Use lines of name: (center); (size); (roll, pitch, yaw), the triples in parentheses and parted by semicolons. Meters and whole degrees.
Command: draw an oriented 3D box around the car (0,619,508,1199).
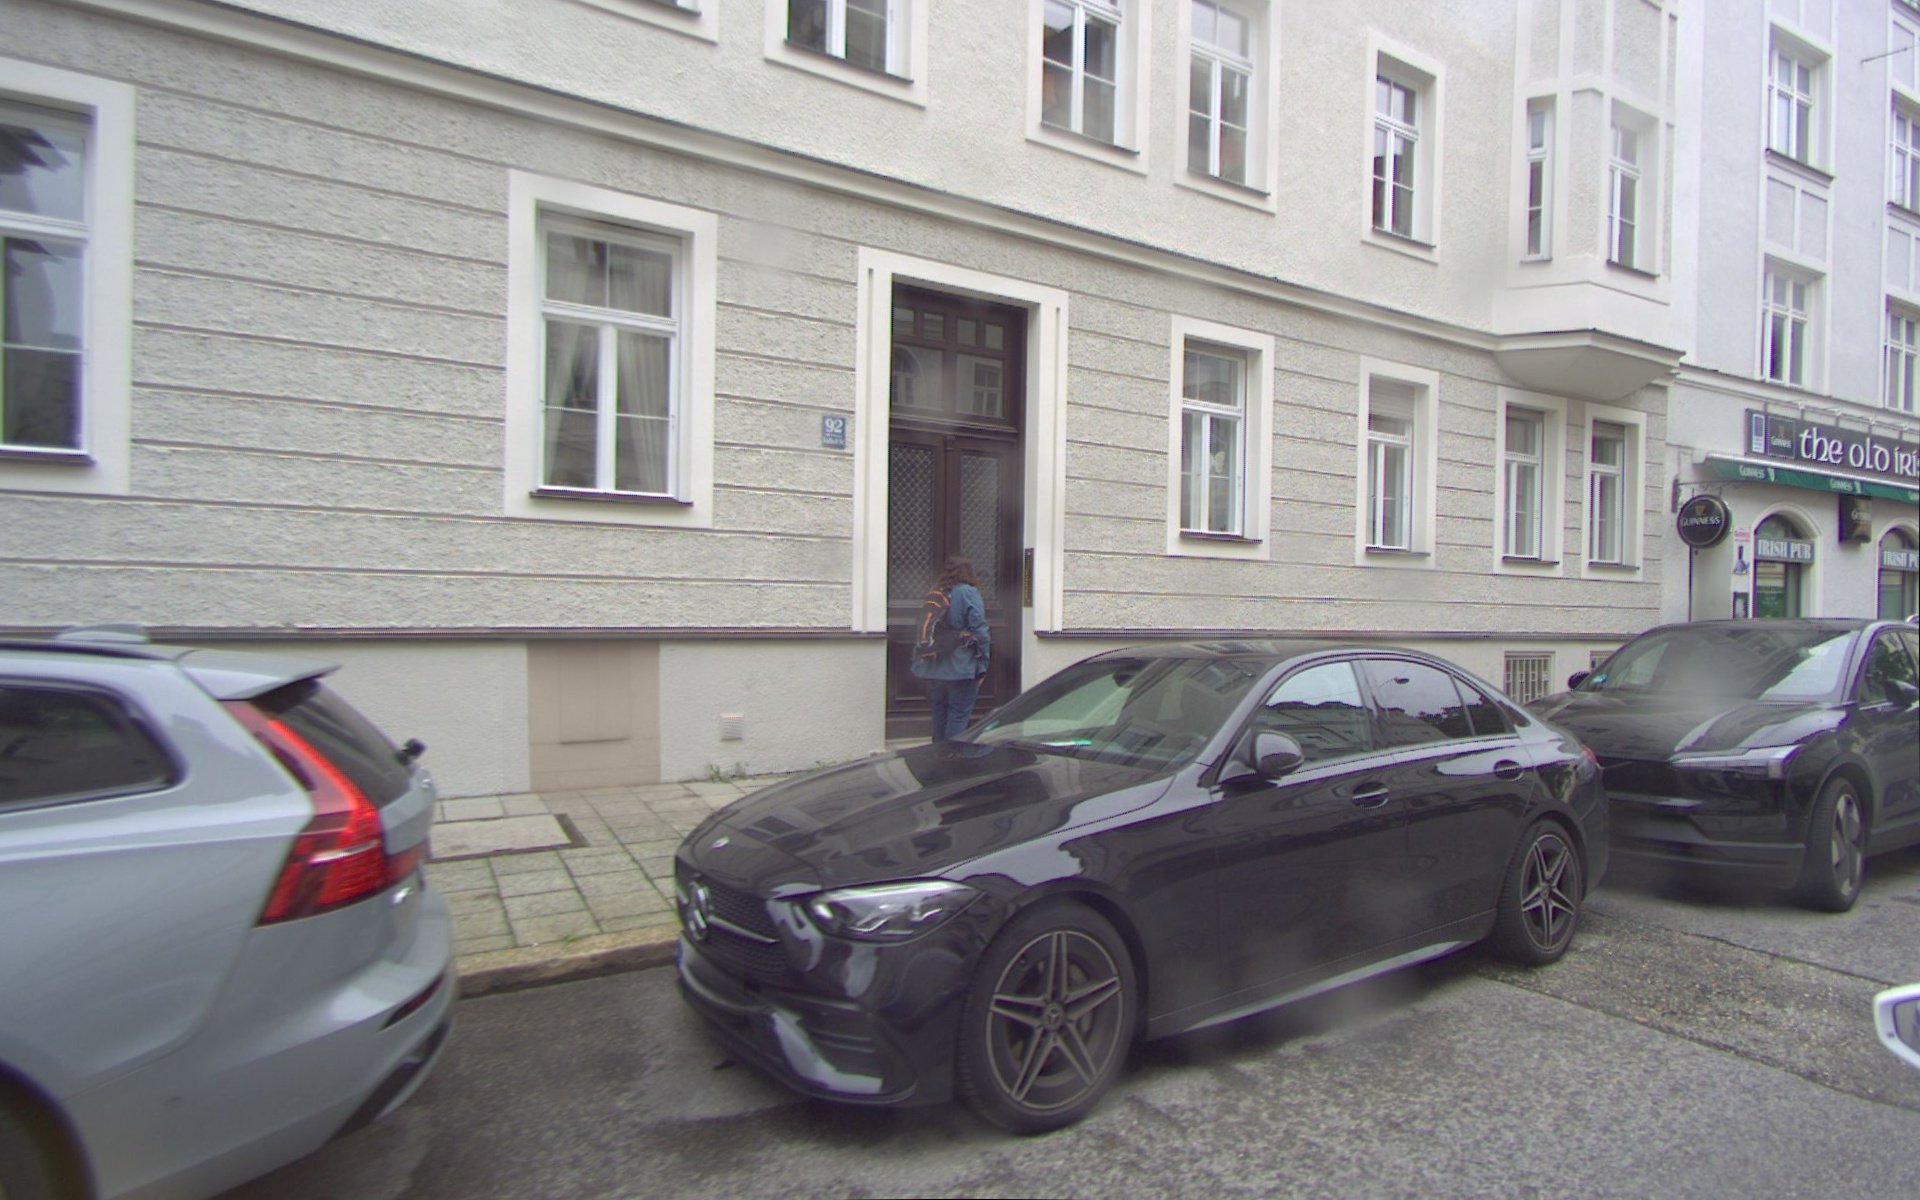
car: (-3.363, 0.766, 1.868); (4.457, 1.438, 1.787); (1, -3, -30)

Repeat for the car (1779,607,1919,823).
car: (9.355, 0.934, 9.025); (4.226, 1.695, 1.738); (1, -3, -31)

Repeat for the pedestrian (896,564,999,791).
pedestrian: (-0.087, 0.590, 8.051); (0.685, 1.729, 0.666); (1, 0, 11)

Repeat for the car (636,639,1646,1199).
car: (1.033, 0.891, 4.446); (4.397, 1.403, 1.800); (1, -2, -34)

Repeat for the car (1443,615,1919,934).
car: (5.217, 0.870, 6.566); (4.132, 1.506, 1.733); (1, -1, -31)
